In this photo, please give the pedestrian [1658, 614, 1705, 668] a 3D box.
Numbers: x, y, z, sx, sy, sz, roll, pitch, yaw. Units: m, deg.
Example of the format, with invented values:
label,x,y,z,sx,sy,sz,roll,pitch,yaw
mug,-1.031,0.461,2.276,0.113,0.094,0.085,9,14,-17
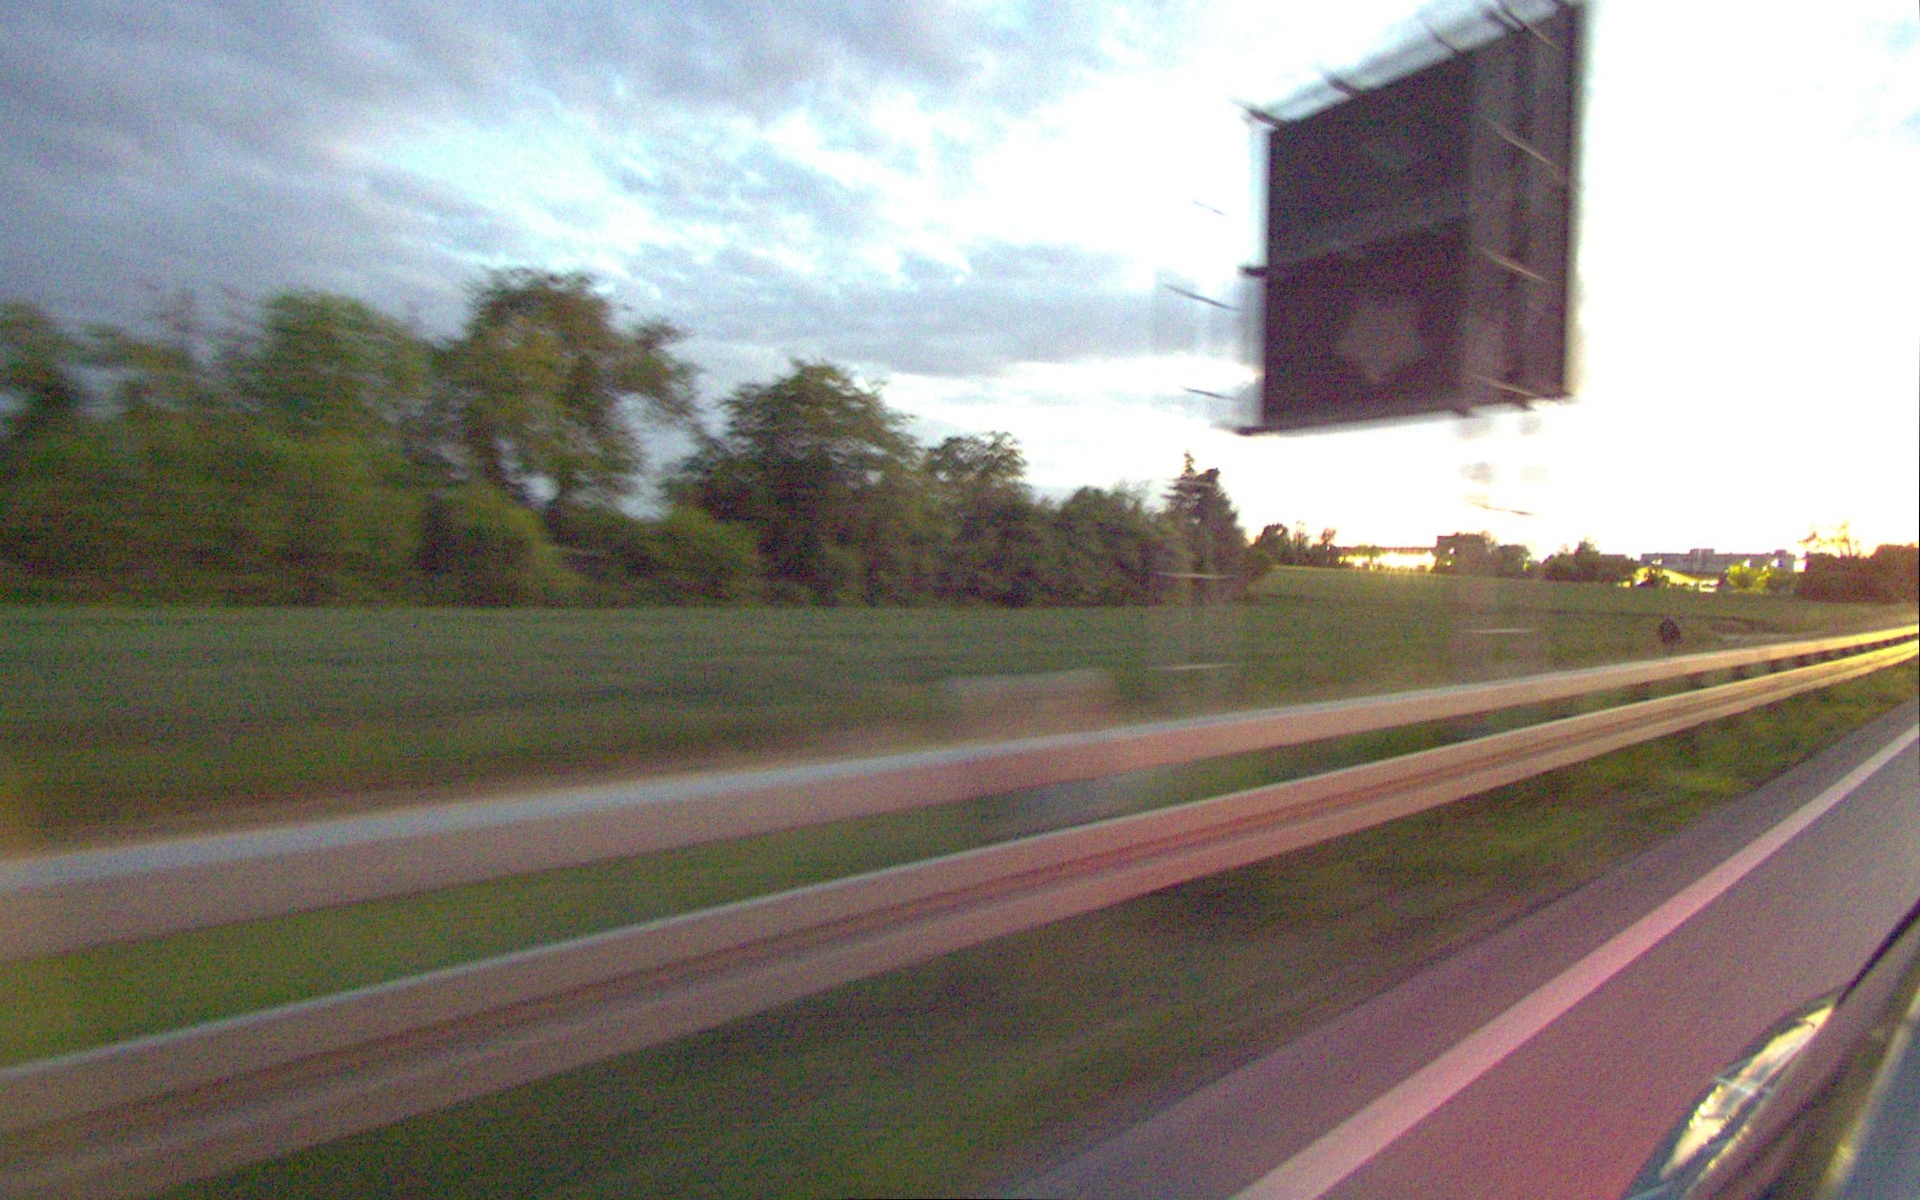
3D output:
label,x,y,z,sx,sy,sz,roll,pitch,yaw
pedestrian,23.656,1.323,33.178,1.099,1.664,1.063,0,0,-41
